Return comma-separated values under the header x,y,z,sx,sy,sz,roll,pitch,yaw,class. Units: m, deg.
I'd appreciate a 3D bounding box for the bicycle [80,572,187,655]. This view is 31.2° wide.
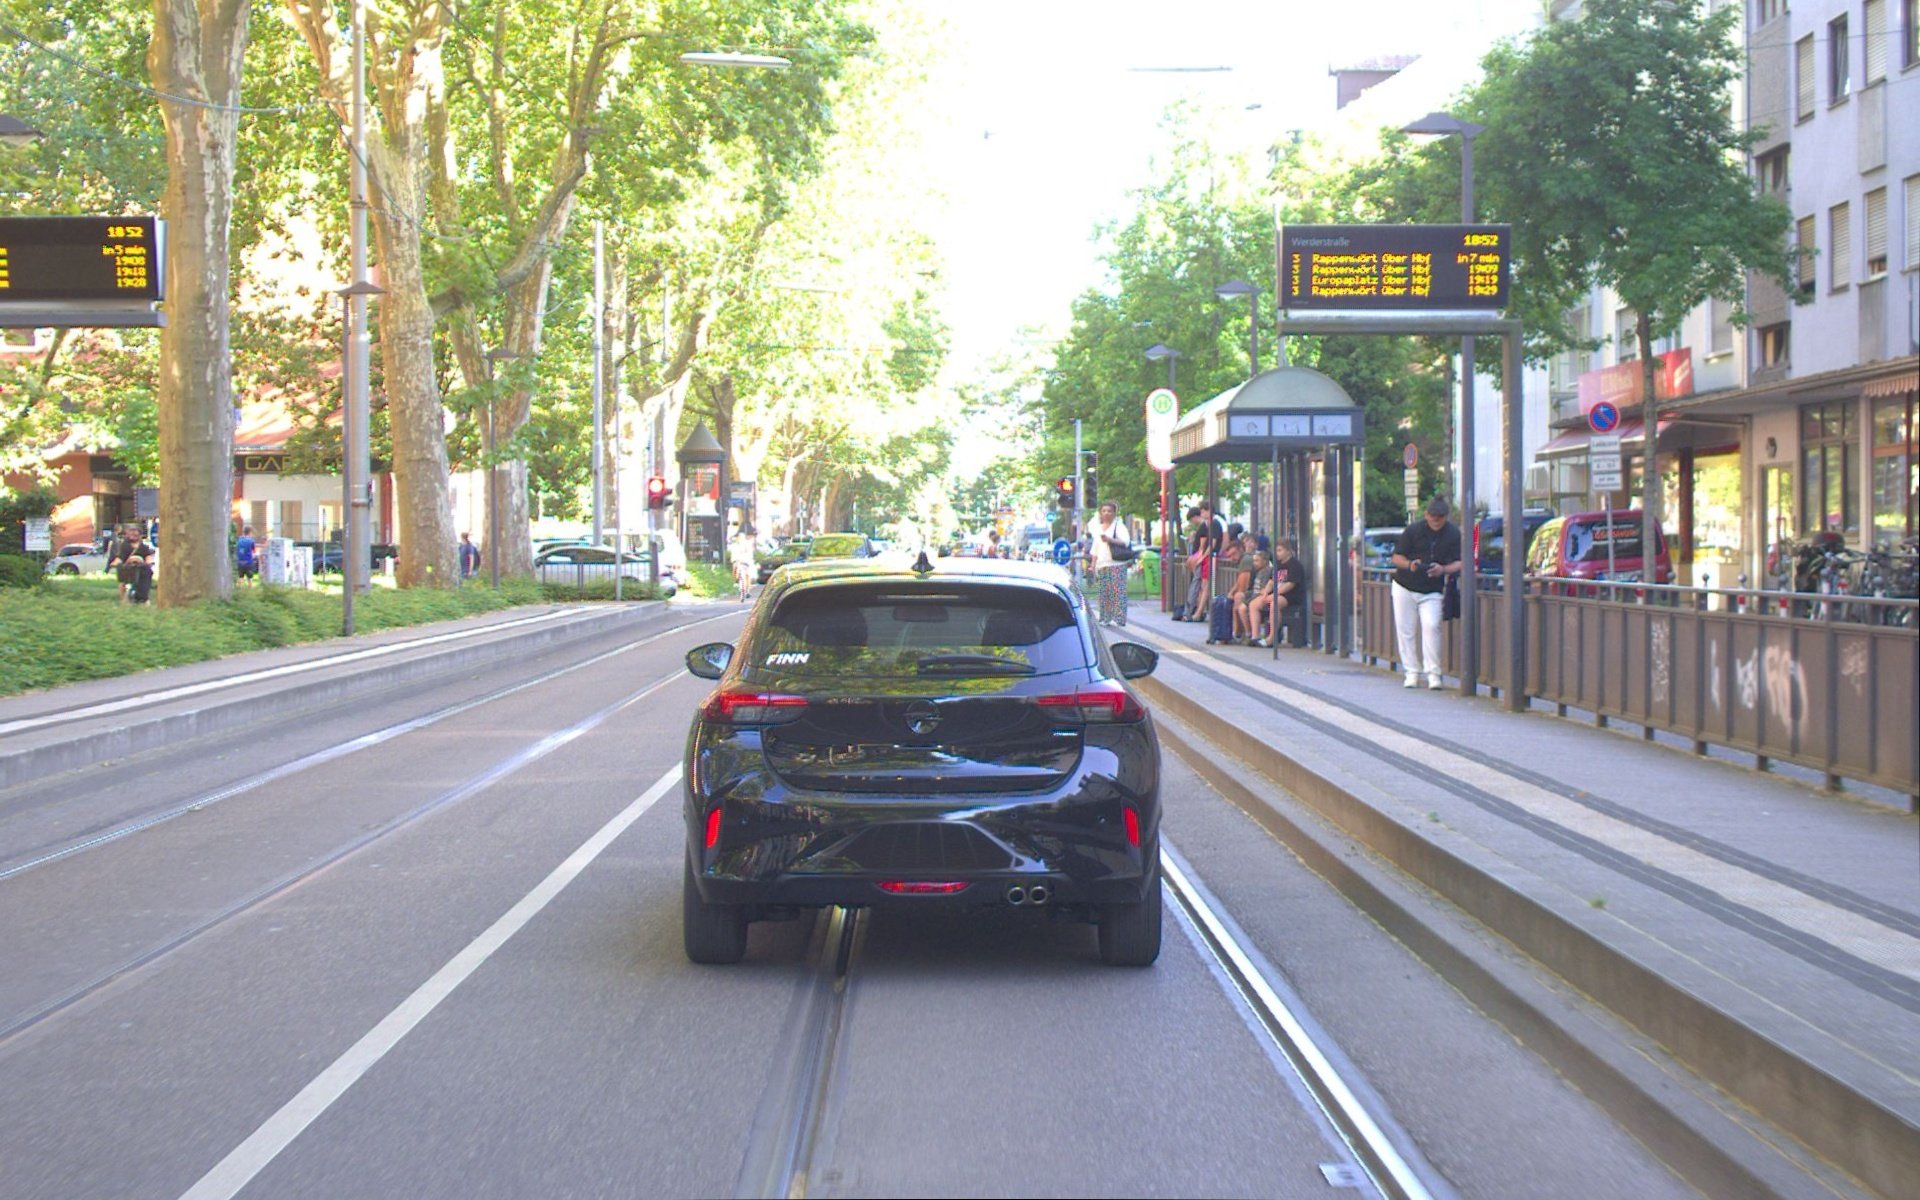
x,y,z,sx,sy,sz,roll,pitch,yaw,class
-12.772,0.189,53.217,0.955,1.236,2.978,1,1,0,bicycle

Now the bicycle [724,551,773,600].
x,y,z,sx,sy,sz,roll,pitch,yaw,class
-5.480,-0.631,89.147,0.955,1.236,2.977,1,1,3,bicycle

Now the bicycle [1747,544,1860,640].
x,y,z,sx,sy,sz,roll,pitch,yaw,class
10.269,-0.103,41.918,0.597,1.132,2.204,1,1,-6,bicycle

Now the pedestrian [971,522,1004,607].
x,y,z,sx,sy,sz,roll,pitch,yaw,class
0.662,-0.852,82.499,0.675,2.007,0.701,2,1,6,pedestrian

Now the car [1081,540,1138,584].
x,y,z,sx,sy,sz,roll,pitch,yaw,class
5.733,-1.454,132.233,1.993,1.627,4.000,1,1,0,car

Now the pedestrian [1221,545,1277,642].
x,y,z,sx,sy,sz,roll,pitch,yaw,class
3.312,-0.074,39.420,0.534,1.096,0.551,1,0,-5,pedestrian

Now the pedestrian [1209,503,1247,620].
x,y,z,sx,sy,sz,roll,pitch,yaw,class
4.069,-0.589,52.214,0.531,1.757,0.661,1,0,2,pedestrian

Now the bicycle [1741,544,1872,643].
x,y,z,sx,sy,sz,roll,pitch,yaw,class
9.982,-0.093,40.600,0.597,1.132,2.205,1,1,-12,bicycle

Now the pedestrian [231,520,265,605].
x,y,z,sx,sy,sz,roll,pitch,yaw,class
-16.464,-0.861,79.490,0.672,1.943,0.498,2,1,-4,pedestrian

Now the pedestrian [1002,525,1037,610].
x,y,z,sx,sy,sz,roll,pitch,yaw,class
1.422,-0.788,82.337,0.675,2.007,0.701,2,1,11,pedestrian

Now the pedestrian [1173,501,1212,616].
x,y,z,sx,sy,sz,roll,pitch,yaw,class
3.481,-0.620,51.464,0.531,1.703,0.752,1,0,2,pedestrian

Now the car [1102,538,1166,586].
x,y,z,sx,sy,sz,roll,pitch,yaw,class
6.025,-1.316,119.476,1.993,1.627,4.000,1,1,0,car

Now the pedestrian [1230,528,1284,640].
x,y,z,sx,sy,sz,roll,pitch,yaw,class
3.499,-0.187,40.500,0.534,1.300,0.551,1,0,-5,pedestrian

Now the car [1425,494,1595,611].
x,y,z,sx,sy,sz,roll,pitch,yaw,class
8.818,-0.758,55.420,1.993,1.791,4.000,1,1,-1,car

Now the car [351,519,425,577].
x,y,z,sx,sy,sz,roll,pitch,yaw,class
-20.409,-1.848,122.741,1.993,2.007,4.000,1,1,0,car

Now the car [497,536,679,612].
x,y,z,sx,sy,sz,roll,pitch,yaw,class
-8.581,-0.601,79.147,4.113,1.695,1.884,1,1,-7,car

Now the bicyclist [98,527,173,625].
x,y,z,sx,sy,sz,roll,pitch,yaw,class
-12.759,-0.374,53.215,0.955,1.486,0.838,1,0,0,bicyclist

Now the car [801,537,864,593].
x,y,z,sx,sy,sz,roll,pitch,yaw,class
-3.618,-0.997,97.373,1.745,1.539,4.000,1,1,-2,car

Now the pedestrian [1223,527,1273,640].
x,y,z,sx,sy,sz,roll,pitch,yaw,class
3.348,-0.194,39.947,0.502,1.300,0.429,1,0,-5,pedestrian

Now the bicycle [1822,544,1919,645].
x,y,z,sx,sy,sz,roll,pitch,yaw,class
10.702,-0.073,39.591,0.597,1.132,2.205,1,1,-12,bicycle

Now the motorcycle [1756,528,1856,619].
x,y,z,sx,sy,sz,roll,pitch,yaw,class
12.176,-0.383,49.538,0.892,1.276,2.043,1,1,0,motorcycle

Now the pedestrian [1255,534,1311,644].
x,y,z,sx,sy,sz,roll,pitch,yaw,class
3.656,-0.127,38.898,0.534,1.226,0.510,1,0,-5,pedestrian

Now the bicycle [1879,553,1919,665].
x,y,z,sx,sy,sz,roll,pitch,yaw,class
10.075,0.100,34.500,0.602,1.132,2.435,1,1,-12,bicycle

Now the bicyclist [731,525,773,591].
x,y,z,sx,sy,sz,roll,pitch,yaw,class
-5.444,-1.100,90.009,0.941,1.697,1.153,1,0,3,bicyclist

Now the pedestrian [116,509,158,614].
x,y,z,sx,sy,sz,roll,pitch,yaw,class
-15.407,-0.718,64.352,0.496,1.943,0.674,1,0,12,pedestrian

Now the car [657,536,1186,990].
x,y,z,sx,sy,sz,roll,pitch,yaw,class
-0.211,0.524,13.373,1.759,1.503,3.683,-1,1,-3,car

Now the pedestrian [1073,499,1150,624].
x,y,z,sx,sy,sz,roll,pitch,yaw,class
2.086,-0.530,47.374,0.751,1.703,0.762,1,1,34,pedestrian

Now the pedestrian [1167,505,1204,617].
x,y,z,sx,sy,sz,roll,pitch,yaw,class
3.466,-0.603,52.847,0.531,1.703,0.596,1,0,2,pedestrian

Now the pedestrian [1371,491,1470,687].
x,y,z,sx,sy,sz,roll,pitch,yaw,class
3.801,-0.096,28.401,0.630,1.571,0.871,2,1,0,pedestrian

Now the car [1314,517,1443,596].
x,y,z,sx,sy,sz,roll,pitch,yaw,class
8.194,-0.847,67.655,1.993,1.481,4.000,1,1,0,car

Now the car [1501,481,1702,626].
x,y,z,sx,sy,sz,roll,pitch,yaw,class
9.044,-0.653,48.800,1.993,1.946,4.000,1,1,-1,car

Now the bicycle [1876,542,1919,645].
x,y,z,sx,sy,sz,roll,pitch,yaw,class
10.744,-0.072,37.672,0.410,1.132,2.205,1,1,-12,bicycle

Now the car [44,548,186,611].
x,y,z,sx,sy,sz,roll,pitch,yaw,class
-28.086,-0.687,114.353,4.250,2.007,2.000,1,0,0,car

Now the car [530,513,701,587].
x,y,z,sx,sy,sz,roll,pitch,yaw,class
-9.040,-1.303,90.051,4.383,1.845,2.000,1,1,-7,car

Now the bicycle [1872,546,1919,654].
x,y,z,sx,sy,sz,roll,pitch,yaw,class
10.493,0.009,35.897,0.611,1.132,2.922,1,1,-12,bicycle
